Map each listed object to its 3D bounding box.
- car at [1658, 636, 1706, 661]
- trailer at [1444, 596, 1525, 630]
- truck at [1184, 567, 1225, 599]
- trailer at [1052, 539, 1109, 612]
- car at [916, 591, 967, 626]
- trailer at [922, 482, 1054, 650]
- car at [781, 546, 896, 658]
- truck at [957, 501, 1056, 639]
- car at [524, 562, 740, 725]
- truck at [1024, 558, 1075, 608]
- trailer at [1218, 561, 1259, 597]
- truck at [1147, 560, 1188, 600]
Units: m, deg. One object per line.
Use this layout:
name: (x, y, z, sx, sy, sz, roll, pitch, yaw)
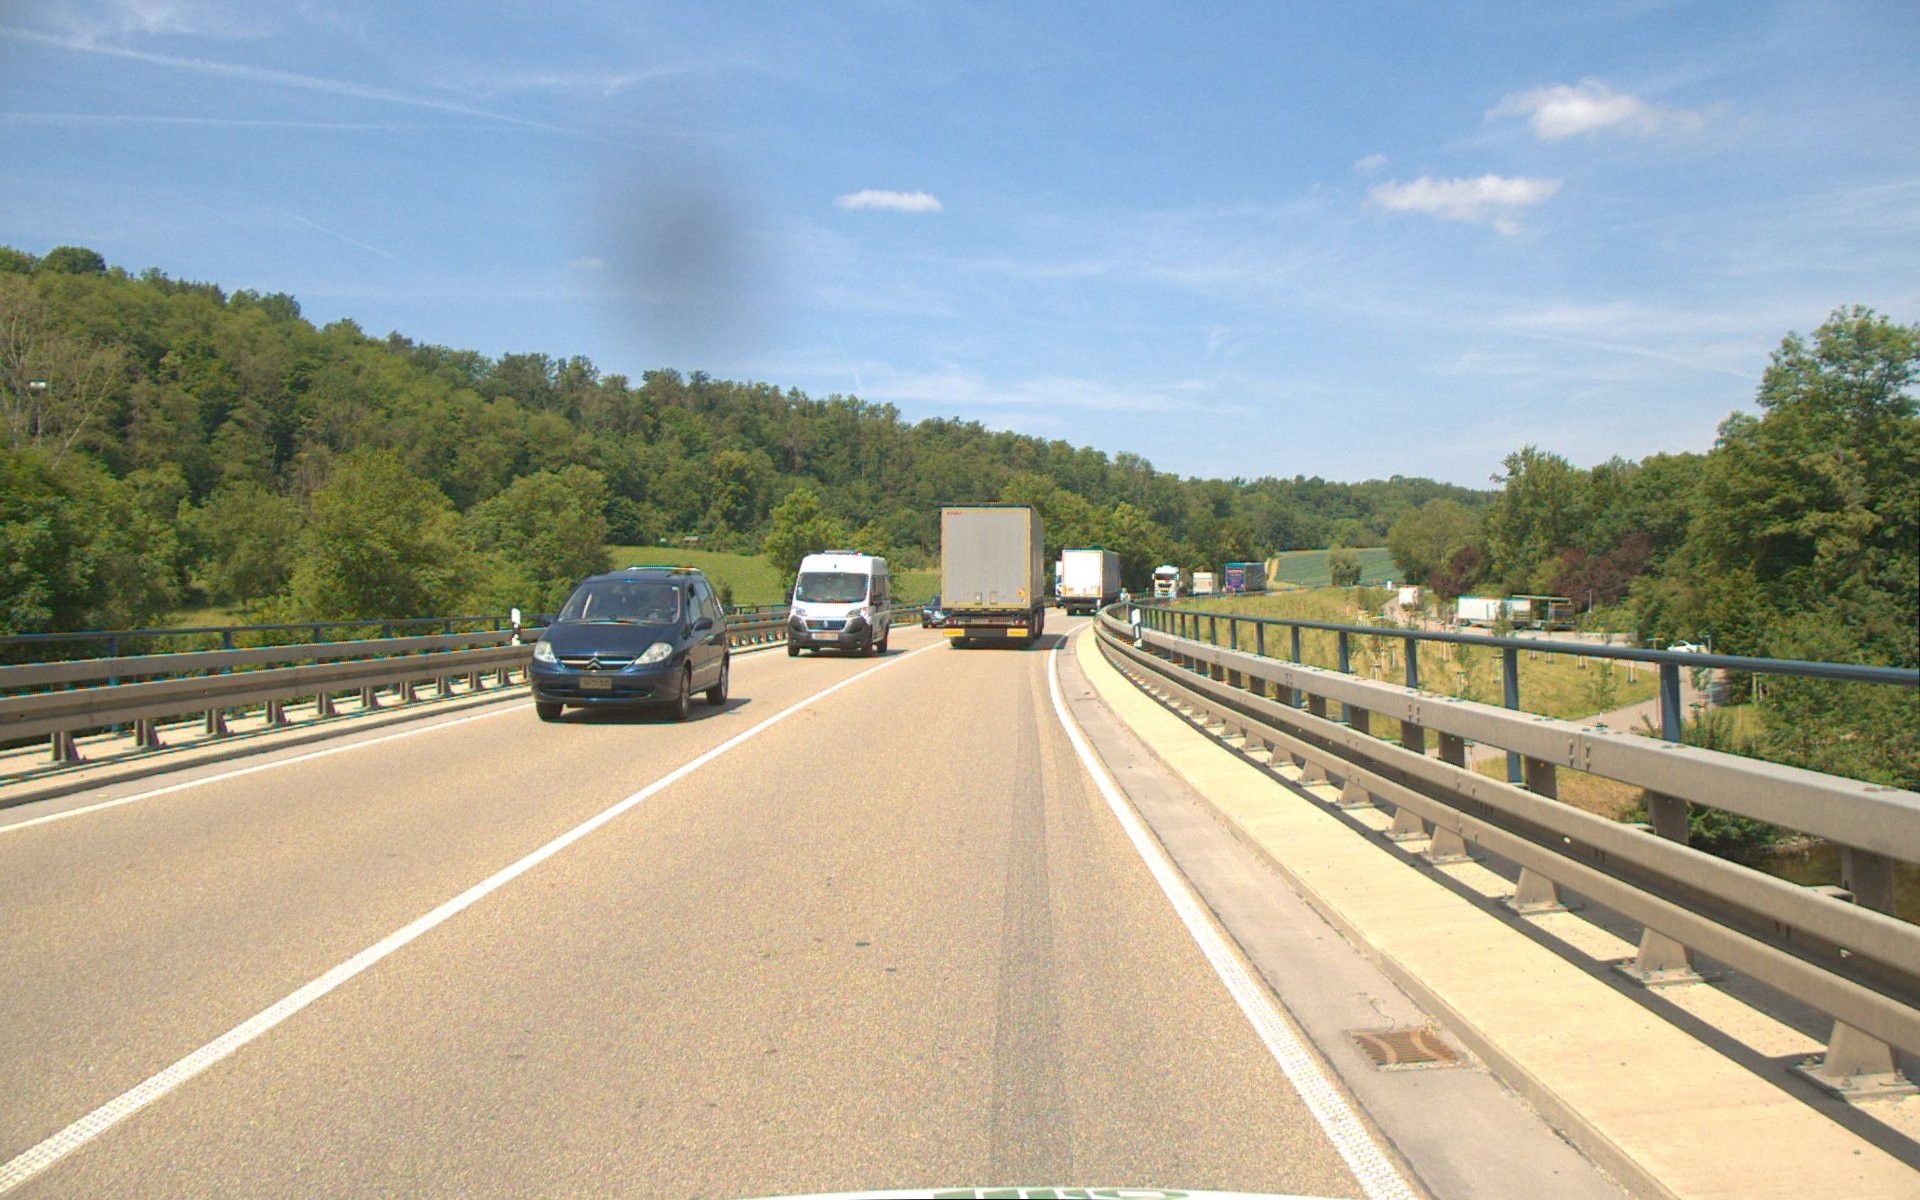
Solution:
car: (53.347, 3.595, 122.312, 1.818, 1.508, 4.611, -4, 1, 4)
trailer: (58.280, 1.392, 184.211, 2.673, 3.386, 11.850, 0, 1, -14)
truck: (27.863, -1.908, 187.882, 3.154, 3.424, 11.883, 0, 0, 15)
trailer: (7.906, -1.454, 106.677, 3.294, 4.392, 13.873, 0, 0, 6)
car: (-0.758, 0.363, 71.793, 1.684, 1.460, 4.620, 1, 0, 6)
trailer: (1.152, -0.972, 52.128, 3.052, 4.578, 13.895, 0, 0, 5)
car: (-2.980, 0.045, 41.933, 2.133, 2.604, 5.799, 1, 0, 4)
truck: (1.744, -1.017, 58.558, 3.052, 4.573, 6.815, 0, 0, 5)
car: (-4.049, 0.491, 21.249, 1.815, 1.830, 4.976, 1, 0, -1)
truck: (7.270, -1.384, 133.158, 2.852, 3.870, 9.717, 0, 1, 10)
trailer: (35.216, -2.601, 208.913, 3.571, 4.337, 12.201, 0, 0, 17)
truck: (23.308, -2.226, 185.381, 2.996, 4.337, 9.874, 0, 0, 16)
